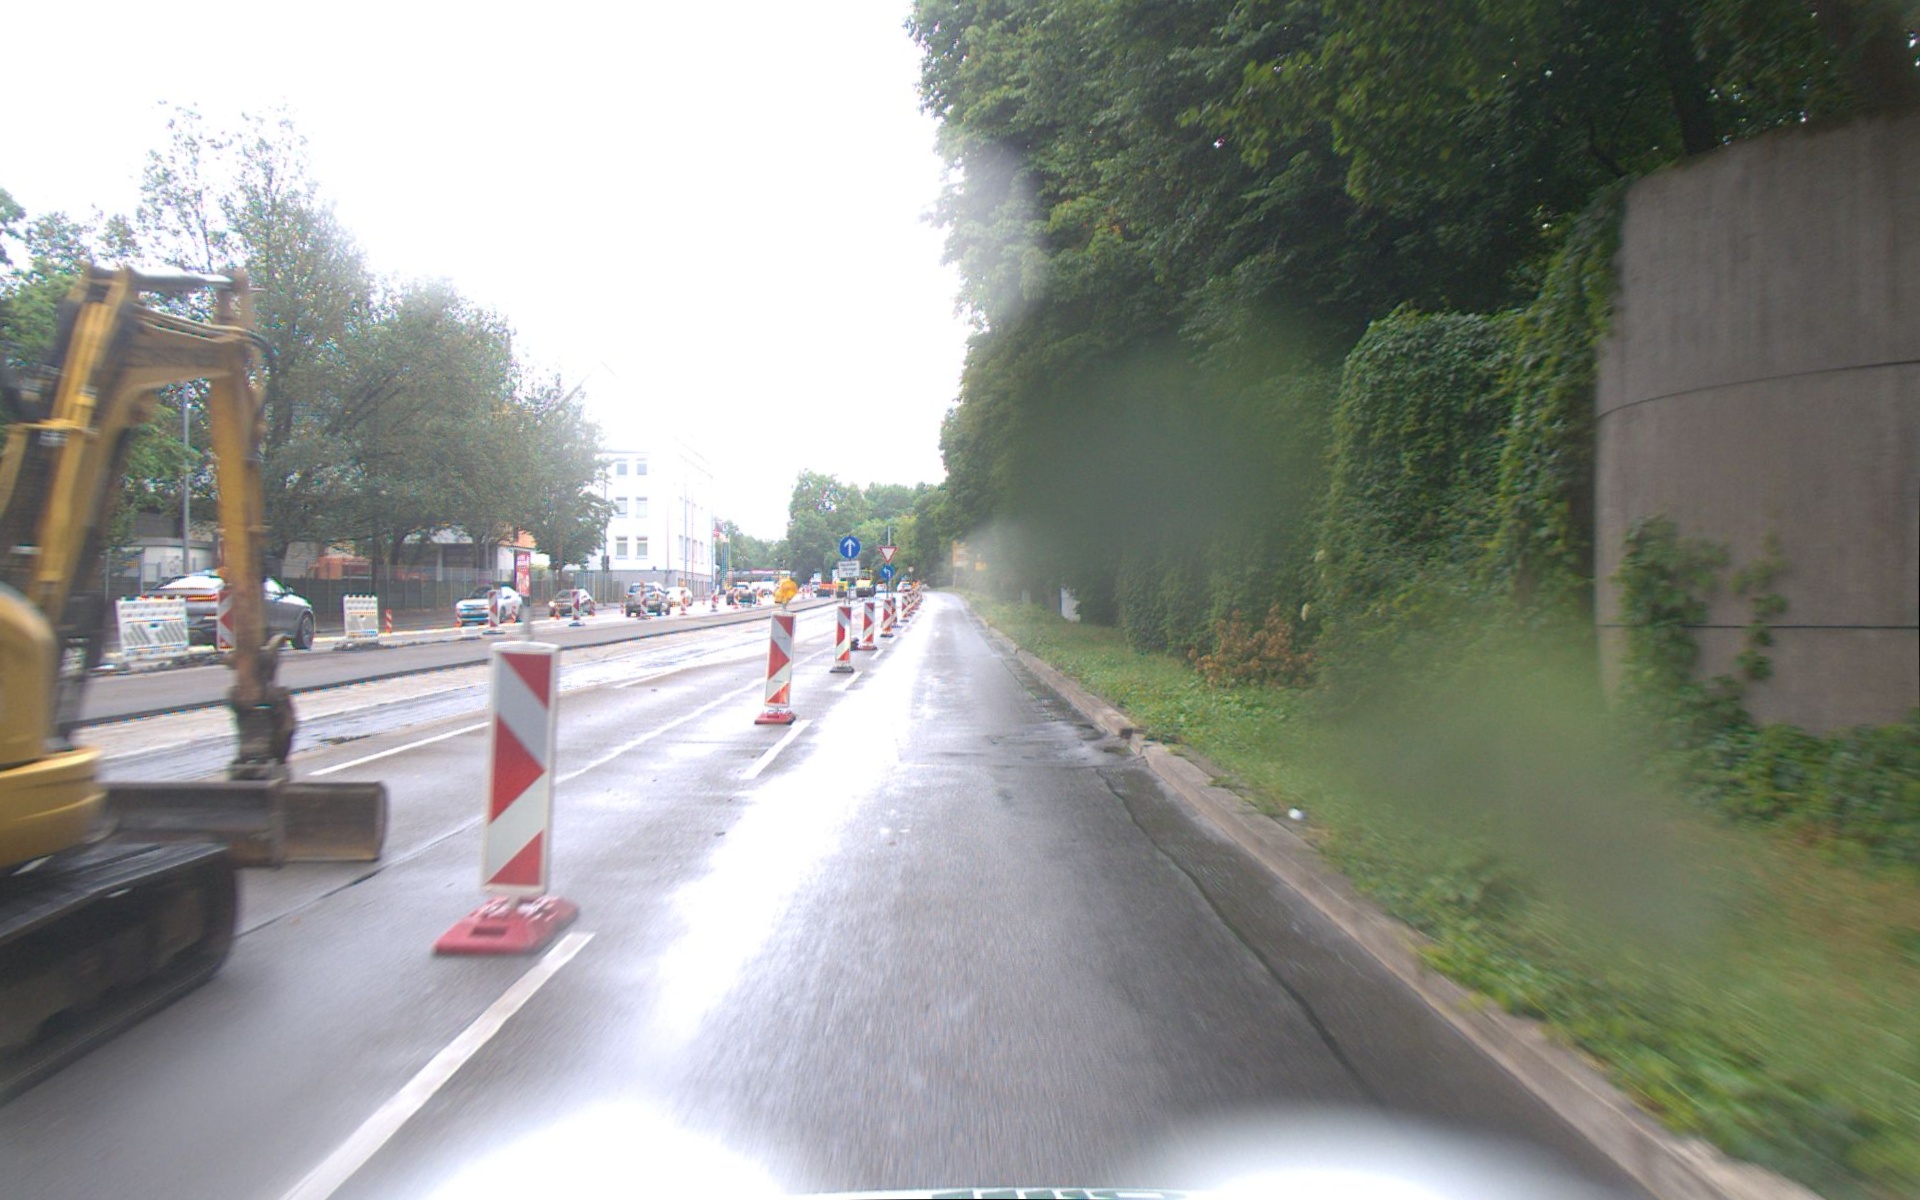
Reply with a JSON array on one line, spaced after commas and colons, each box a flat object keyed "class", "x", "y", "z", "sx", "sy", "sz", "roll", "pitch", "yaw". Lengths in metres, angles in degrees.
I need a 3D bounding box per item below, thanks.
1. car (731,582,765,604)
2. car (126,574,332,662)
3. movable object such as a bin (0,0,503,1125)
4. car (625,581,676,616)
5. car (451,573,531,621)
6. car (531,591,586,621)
[{"class": "car", "x": -15.391, "y": -0.498, "z": 120.189, "sx": 1.953, "sy": 1.545, "sz": 3.999, "roll": 1, "pitch": 0, "yaw": -1}, {"class": "car", "x": -14.792, "y": 0.336, "z": 33.827, "sx": 2.034, "sy": 1.641, "sz": 5.055, "roll": 1, "pitch": 0, "yaw": -1}, {"class": "movable object such as a bin", "x": -3.656, "y": -0.256, "z": 6.671, "sx": 1.953, "sy": 3.426, "sz": 5.981, "roll": 1, "pitch": 0, "yaw": 0}, {"class": "car", "x": -15.300, "y": -0.087, "z": 81.967, "sx": 1.817, "sy": 1.677, "sz": 3.999, "roll": 1, "pitch": 0, "yaw": -1}, {"class": "car", "x": -18.477, "y": -0.111, "z": 65.310, "sx": 1.953, "sy": 1.797, "sz": 4.278, "roll": 1, "pitch": 0, "yaw": 0}, {"class": "car", "x": -22.019, "y": 0.307, "z": 90.893, "sx": 1.953, "sy": 1.614, "sz": 4.618, "roll": 0, "pitch": 0, "yaw": 0}]
